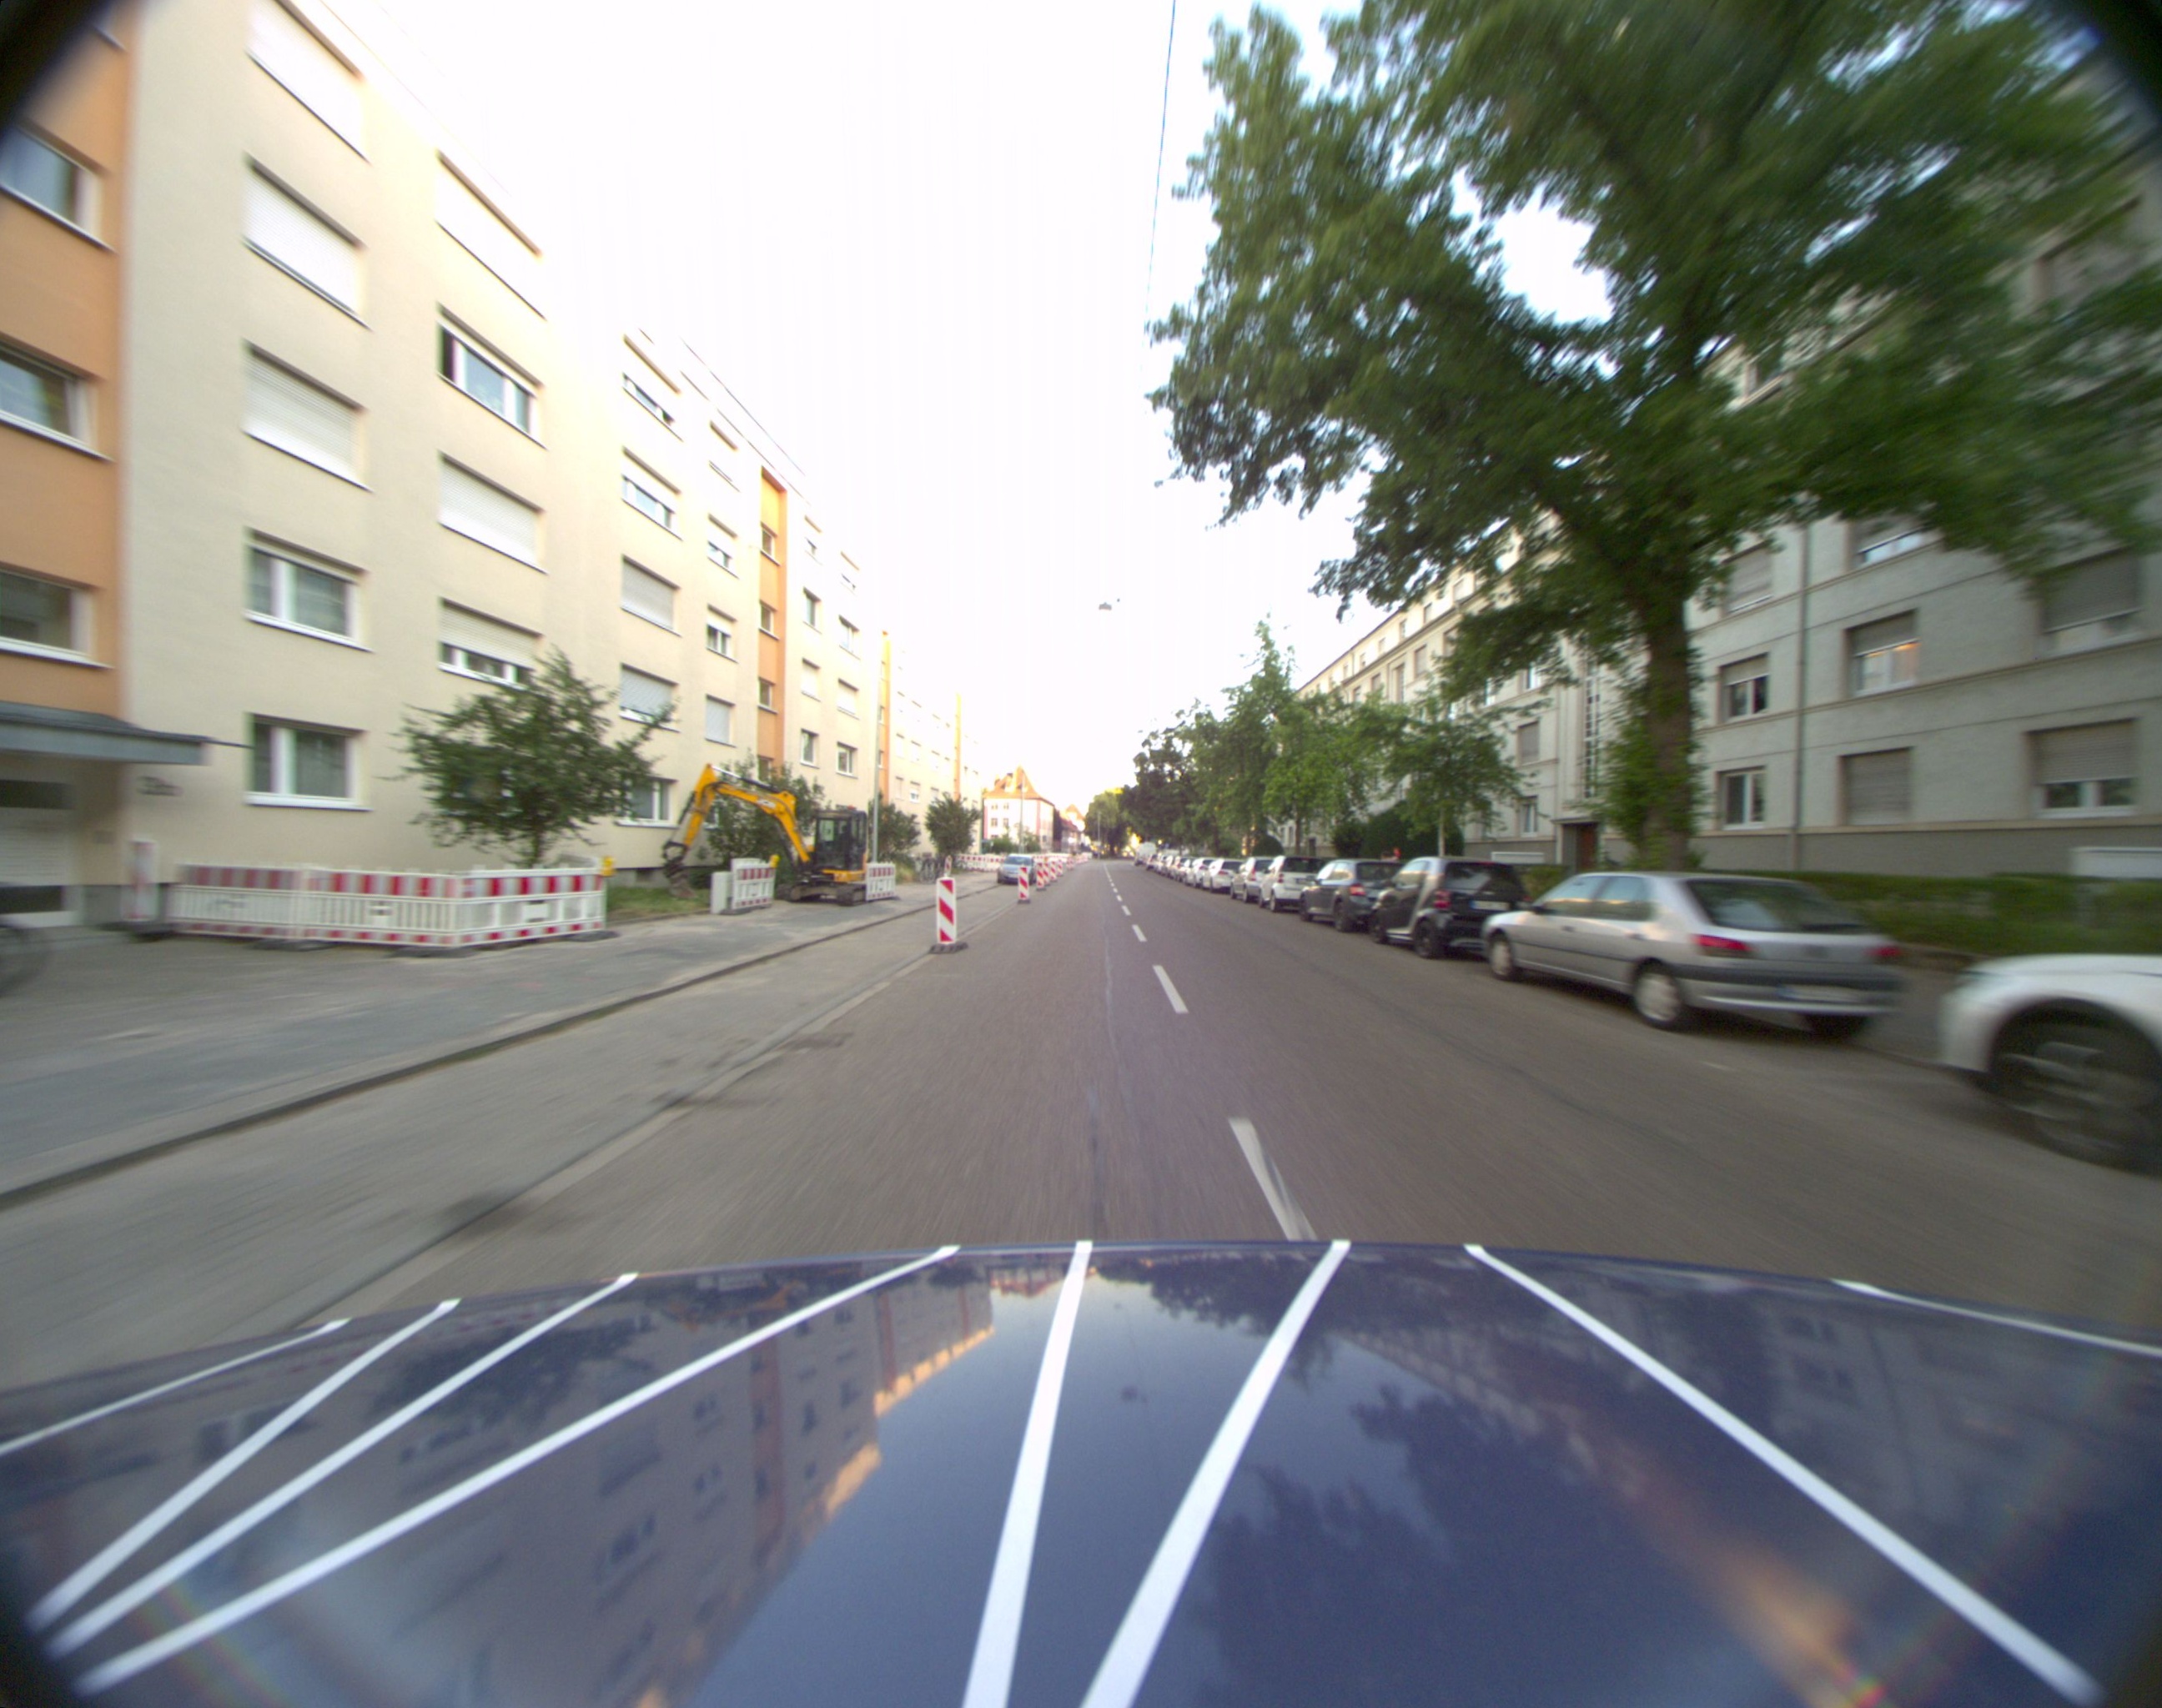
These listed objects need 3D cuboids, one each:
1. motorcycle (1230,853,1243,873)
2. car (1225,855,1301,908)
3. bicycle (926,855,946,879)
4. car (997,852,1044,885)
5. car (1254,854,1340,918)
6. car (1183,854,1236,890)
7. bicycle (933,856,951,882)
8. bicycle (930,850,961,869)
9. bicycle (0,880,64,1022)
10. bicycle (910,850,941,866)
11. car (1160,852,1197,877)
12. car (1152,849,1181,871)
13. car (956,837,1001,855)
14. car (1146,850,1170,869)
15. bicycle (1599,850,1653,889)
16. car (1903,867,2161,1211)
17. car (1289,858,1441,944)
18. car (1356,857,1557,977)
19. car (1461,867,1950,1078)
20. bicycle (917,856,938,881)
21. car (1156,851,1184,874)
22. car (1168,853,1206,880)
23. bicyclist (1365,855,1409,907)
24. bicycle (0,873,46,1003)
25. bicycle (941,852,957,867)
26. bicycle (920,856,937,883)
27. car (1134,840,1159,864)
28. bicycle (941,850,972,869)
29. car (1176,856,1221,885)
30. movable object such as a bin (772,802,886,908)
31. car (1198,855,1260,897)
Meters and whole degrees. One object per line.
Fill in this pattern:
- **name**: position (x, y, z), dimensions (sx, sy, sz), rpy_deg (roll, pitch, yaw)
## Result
- **motorcycle**: position (11.041, 0.632, 53.994), dimensions (0.588, 1.317, 1.828), rpy_deg (1, 1, 1)
- **car**: position (6.005, 0.855, 25.433), dimensions (1.594, 1.496, 3.799), rpy_deg (4, 1, 1)
- **bicycle**: position (-7.371, 0.643, 38.601), dimensions (0.557, 1.165, 1.817), rpy_deg (0, 1, 4)
- **car**: position (-3.094, 0.711, 39.553), dimensions (1.780, 1.482, 4.573), rpy_deg (4, 1, 2)
- **car**: position (5.918, 0.834, 21.093), dimensions (1.593, 1.520, 2.922), rpy_deg (4, 1, 3)
- **car**: position (6.086, 0.812, 36.350), dimensions (1.696, 1.451, 4.144), rpy_deg (4, 1, -1)
- **bicycle**: position (-6.407, 0.679, 35.006), dimensions (0.558, 1.165, 1.813), rpy_deg (0, 1, -18)
- **bicycle**: position (-8.531, 0.353, 47.933), dimensions (1.755, 0.981, 0.558), rpy_deg (6, 2, 10)
- **bicycle**: position (-9.352, 0.823, 5.834), dimensions (0.557, 1.165, 1.817), rpy_deg (0, 1, 4)
- **bicycle**: position (-10.003, 0.261, 48.913), dimensions (1.821, 0.916, 0.556), rpy_deg (4, 2, -40)
- **car**: position (6.497, 0.686, 51.184), dimensions (1.757, 1.471, 4.678), rpy_deg (4, 1, -1)
- **car**: position (6.877, 0.460, 61.130), dimensions (1.757, 1.622, 4.106), rpy_deg (4, 1, 0)
- **car**: position (-12.603, -1.027, 93.922), dimensions (5.029, 2.117, 2.291), rpy_deg (1, 1, 9)
- **car**: position (6.680, 0.455, 66.501), dimensions (1.756, 1.463, 4.224), rpy_deg (4, 1, 2)
- **bicycle**: position (17.889, 0.496, 25.004), dimensions (0.557, 1.223, 1.817), rpy_deg (0, 1, 4)
- **car**: position (5.756, 0.916, 2.406), dimensions (1.594, 1.530, 4.205), rpy_deg (4, 1, -1)
- **car**: position (5.866, 0.886, 16.243), dimensions (1.594, 1.458, 4.101), rpy_deg (4, 1, -1)
- **car**: position (5.776, 0.881, 12.102), dimensions (1.527, 1.520, 3.164), rpy_deg (4, 1, 0)
- **car**: position (5.791, 0.942, 7.872), dimensions (1.594, 1.396, 4.181), rpy_deg (4, 1, 1)
- **bicycle**: position (-7.365, 0.672, 36.553), dimensions (0.557, 1.165, 1.817), rpy_deg (0, 1, 4)
- **car**: position (6.588, 0.606, 56.564), dimensions (1.756, 1.471, 3.944), rpy_deg (4, 1, 3)
- **car**: position (6.392, 0.724, 46.180), dimensions (1.679, 1.451, 3.704), rpy_deg (4, 1, -1)
- **bicyclist**: position (8.419, 0.729, 20.938), dimensions (0.810, 1.396, 0.973), rpy_deg (0, 1, 1)
- **bicycle**: position (-10.072, 0.767, 6.247), dimensions (0.557, 1.165, 1.817), rpy_deg (0, 1, 4)
- **bicycle**: position (-8.866, 0.335, 50.963), dimensions (0.559, 0.860, 1.610), rpy_deg (5, 2, -27)
- **bicycle**: position (-6.937, 0.694, 34.515), dimensions (0.628, 1.165, 1.814), rpy_deg (0, 1, -15)
- **car**: position (7.343, -0.281, 85.882), dimensions (2.184, 2.447, 6.103), rpy_deg (4, 1, 1)
- **bicycle**: position (-8.123, 0.363, 49.661), dimensions (1.815, 1.017, 0.558), rpy_deg (6, 2, 2)
- **car**: position (6.318, 0.850, 41.388), dimensions (1.678, 1.324, 4.579), rpy_deg (4, 1, 0)
- **movable object such as a bin**: position (-6.802, 0.009, 20.820), dimensions (1.937, 2.677, 2.892), rpy_deg (1, 1, 6)
- **car**: position (6.072, 0.845, 31.605), dimensions (1.696, 1.451, 4.483), rpy_deg (4, 1, 1)
